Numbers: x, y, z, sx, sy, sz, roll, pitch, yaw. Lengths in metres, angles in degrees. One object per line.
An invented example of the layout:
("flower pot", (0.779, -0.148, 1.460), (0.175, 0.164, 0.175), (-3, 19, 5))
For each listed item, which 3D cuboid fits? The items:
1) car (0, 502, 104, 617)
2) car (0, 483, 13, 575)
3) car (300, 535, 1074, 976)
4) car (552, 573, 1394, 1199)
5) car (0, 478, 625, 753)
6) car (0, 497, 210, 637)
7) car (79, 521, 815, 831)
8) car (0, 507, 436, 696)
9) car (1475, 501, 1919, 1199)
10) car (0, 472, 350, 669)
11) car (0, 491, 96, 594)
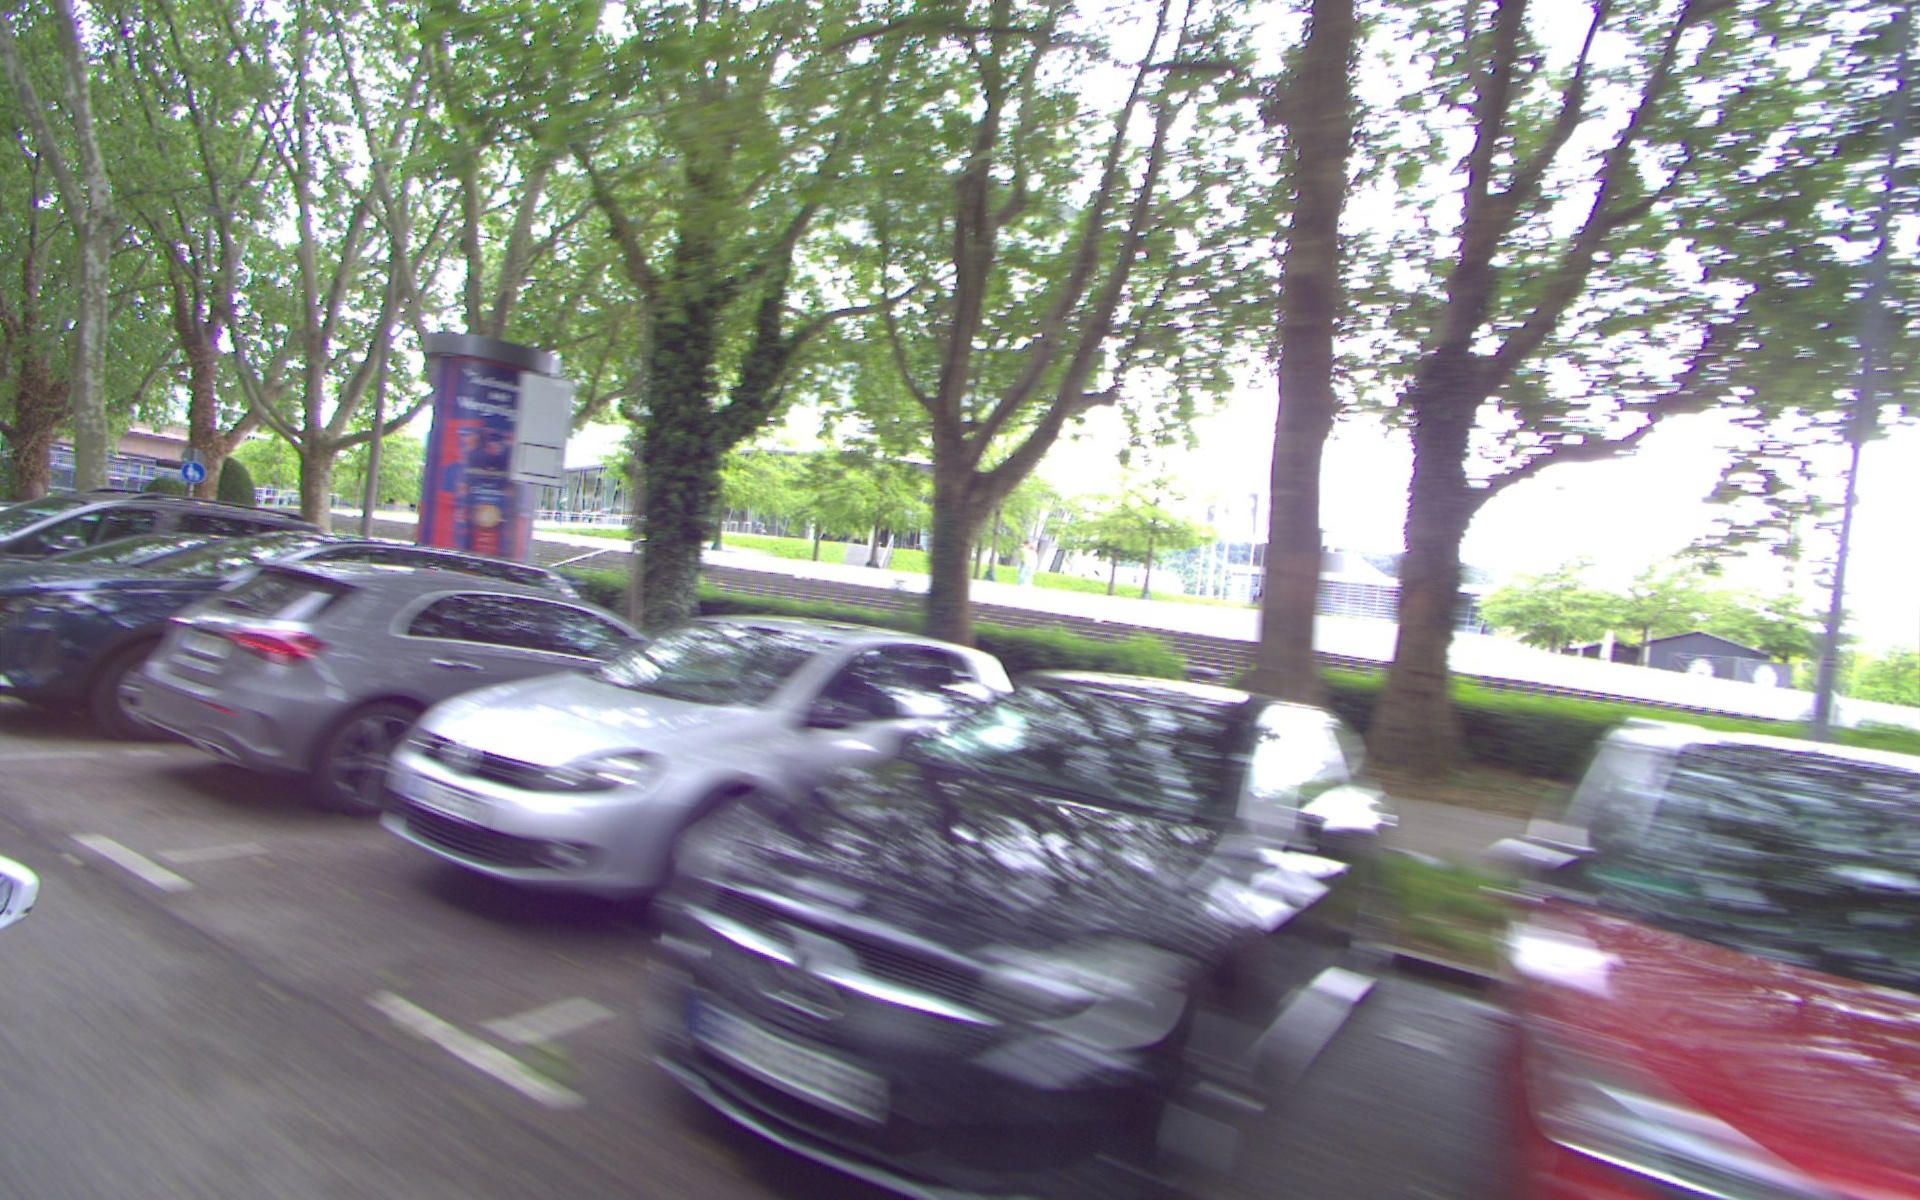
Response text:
("car", (-13.985, -0.742, 13.271), (1.636, 1.443, 3.650), (8, -2, 28))
("car", (-18.255, -1.425, 15.861), (1.893, 1.780, 4.358), (7, -2, 30))
("car", (-1.128, 0.772, 6.141), (1.893, 1.519, 4.357), (8, -2, 30))
("car", (0.710, 0.992, 4.399), (1.891, 1.519, 4.361), (8, -2, 25))
("car", (-5.380, 0.239, 8.435), (1.842, 1.658, 4.599), (8, -2, 33))
("car", (-11.832, -0.536, 12.020), (1.698, 1.474, 4.157), (7, -2, 31))
("car", (-3.267, 0.566, 7.379), (1.893, 1.429, 4.355), (8, -2, 31))
("car", (-7.591, 0.054, 9.744), (1.715, 1.395, 4.049), (8, -2, 31))
("car", (2.837, 1.080, 3.084), (2.012, 1.817, 4.507), (8, -2, 29))
("car", (-9.541, -0.336, 11.085), (1.805, 1.765, 4.357), (8, -2, 29))
("car", (-15.773, -1.031, 15.413), (1.652, 1.511, 3.438), (7, 0, 30))
